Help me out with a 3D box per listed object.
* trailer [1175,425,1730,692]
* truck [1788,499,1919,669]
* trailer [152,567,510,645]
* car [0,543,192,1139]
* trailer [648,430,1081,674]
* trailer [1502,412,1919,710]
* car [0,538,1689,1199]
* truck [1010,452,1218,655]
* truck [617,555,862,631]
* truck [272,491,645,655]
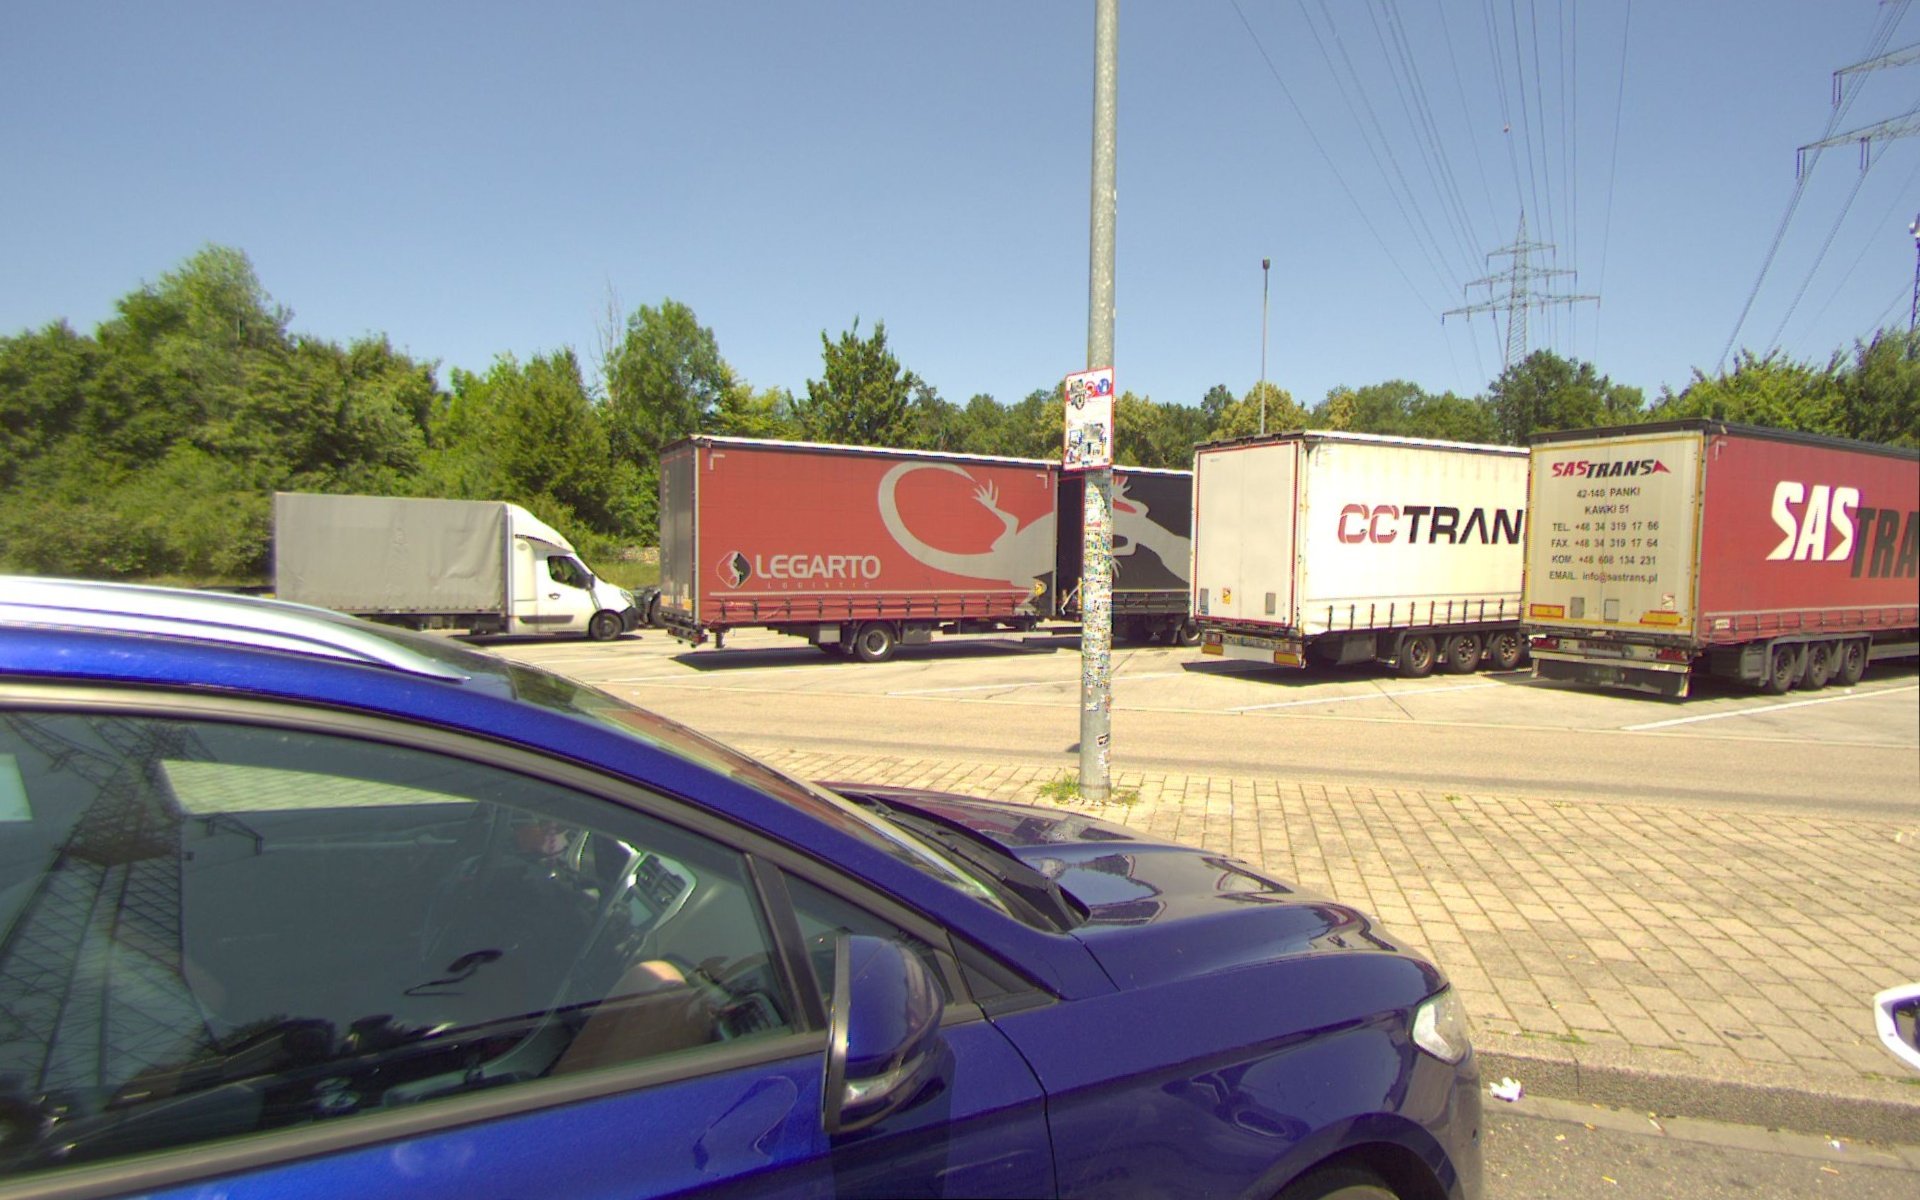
[{"bbox_3d":[10.585,-0.800,20.327,13.962,4.141,2.782,-1,3,-30],"label":"trailer"},{"bbox_3d":[21.207,-0.393,21.993,5.829,3.373,2.837,-1,3,-30],"label":"truck"},{"bbox_3d":[-15.166,0.056,24.886,7.204,1.711,2.249,-1,3,-29],"label":"trailer"},{"bbox_3d":[-4.615,0.602,2.218,4.444,1.520,1.762,0,2,-32],"label":"car"},{"bbox_3d":[-1.745,-0.900,20.320,8.376,4.141,2.722,-1,3,-30],"label":"trailer"},{"bbox_3d":[15.604,-0.692,18.716,13.962,4.141,2.777,-1,3,-30],"label":"trailer"},{"bbox_3d":[-1.039,0.679,1.485,4.444,1.511,1.859,0,2,-32],"label":"car"},{"bbox_3d":[3.568,-1.066,23.441,3.947,4.298,2.723,-1,3,-30],"label":"truck"},{"bbox_3d":[-6.349,-0.230,29.266,6.733,2.041,1.987,-1,1,-26],"label":"truck"},{"bbox_3d":[-11.191,-0.624,23.016,7.204,3.279,2.727,-1,3,-29],"label":"truck"}]
